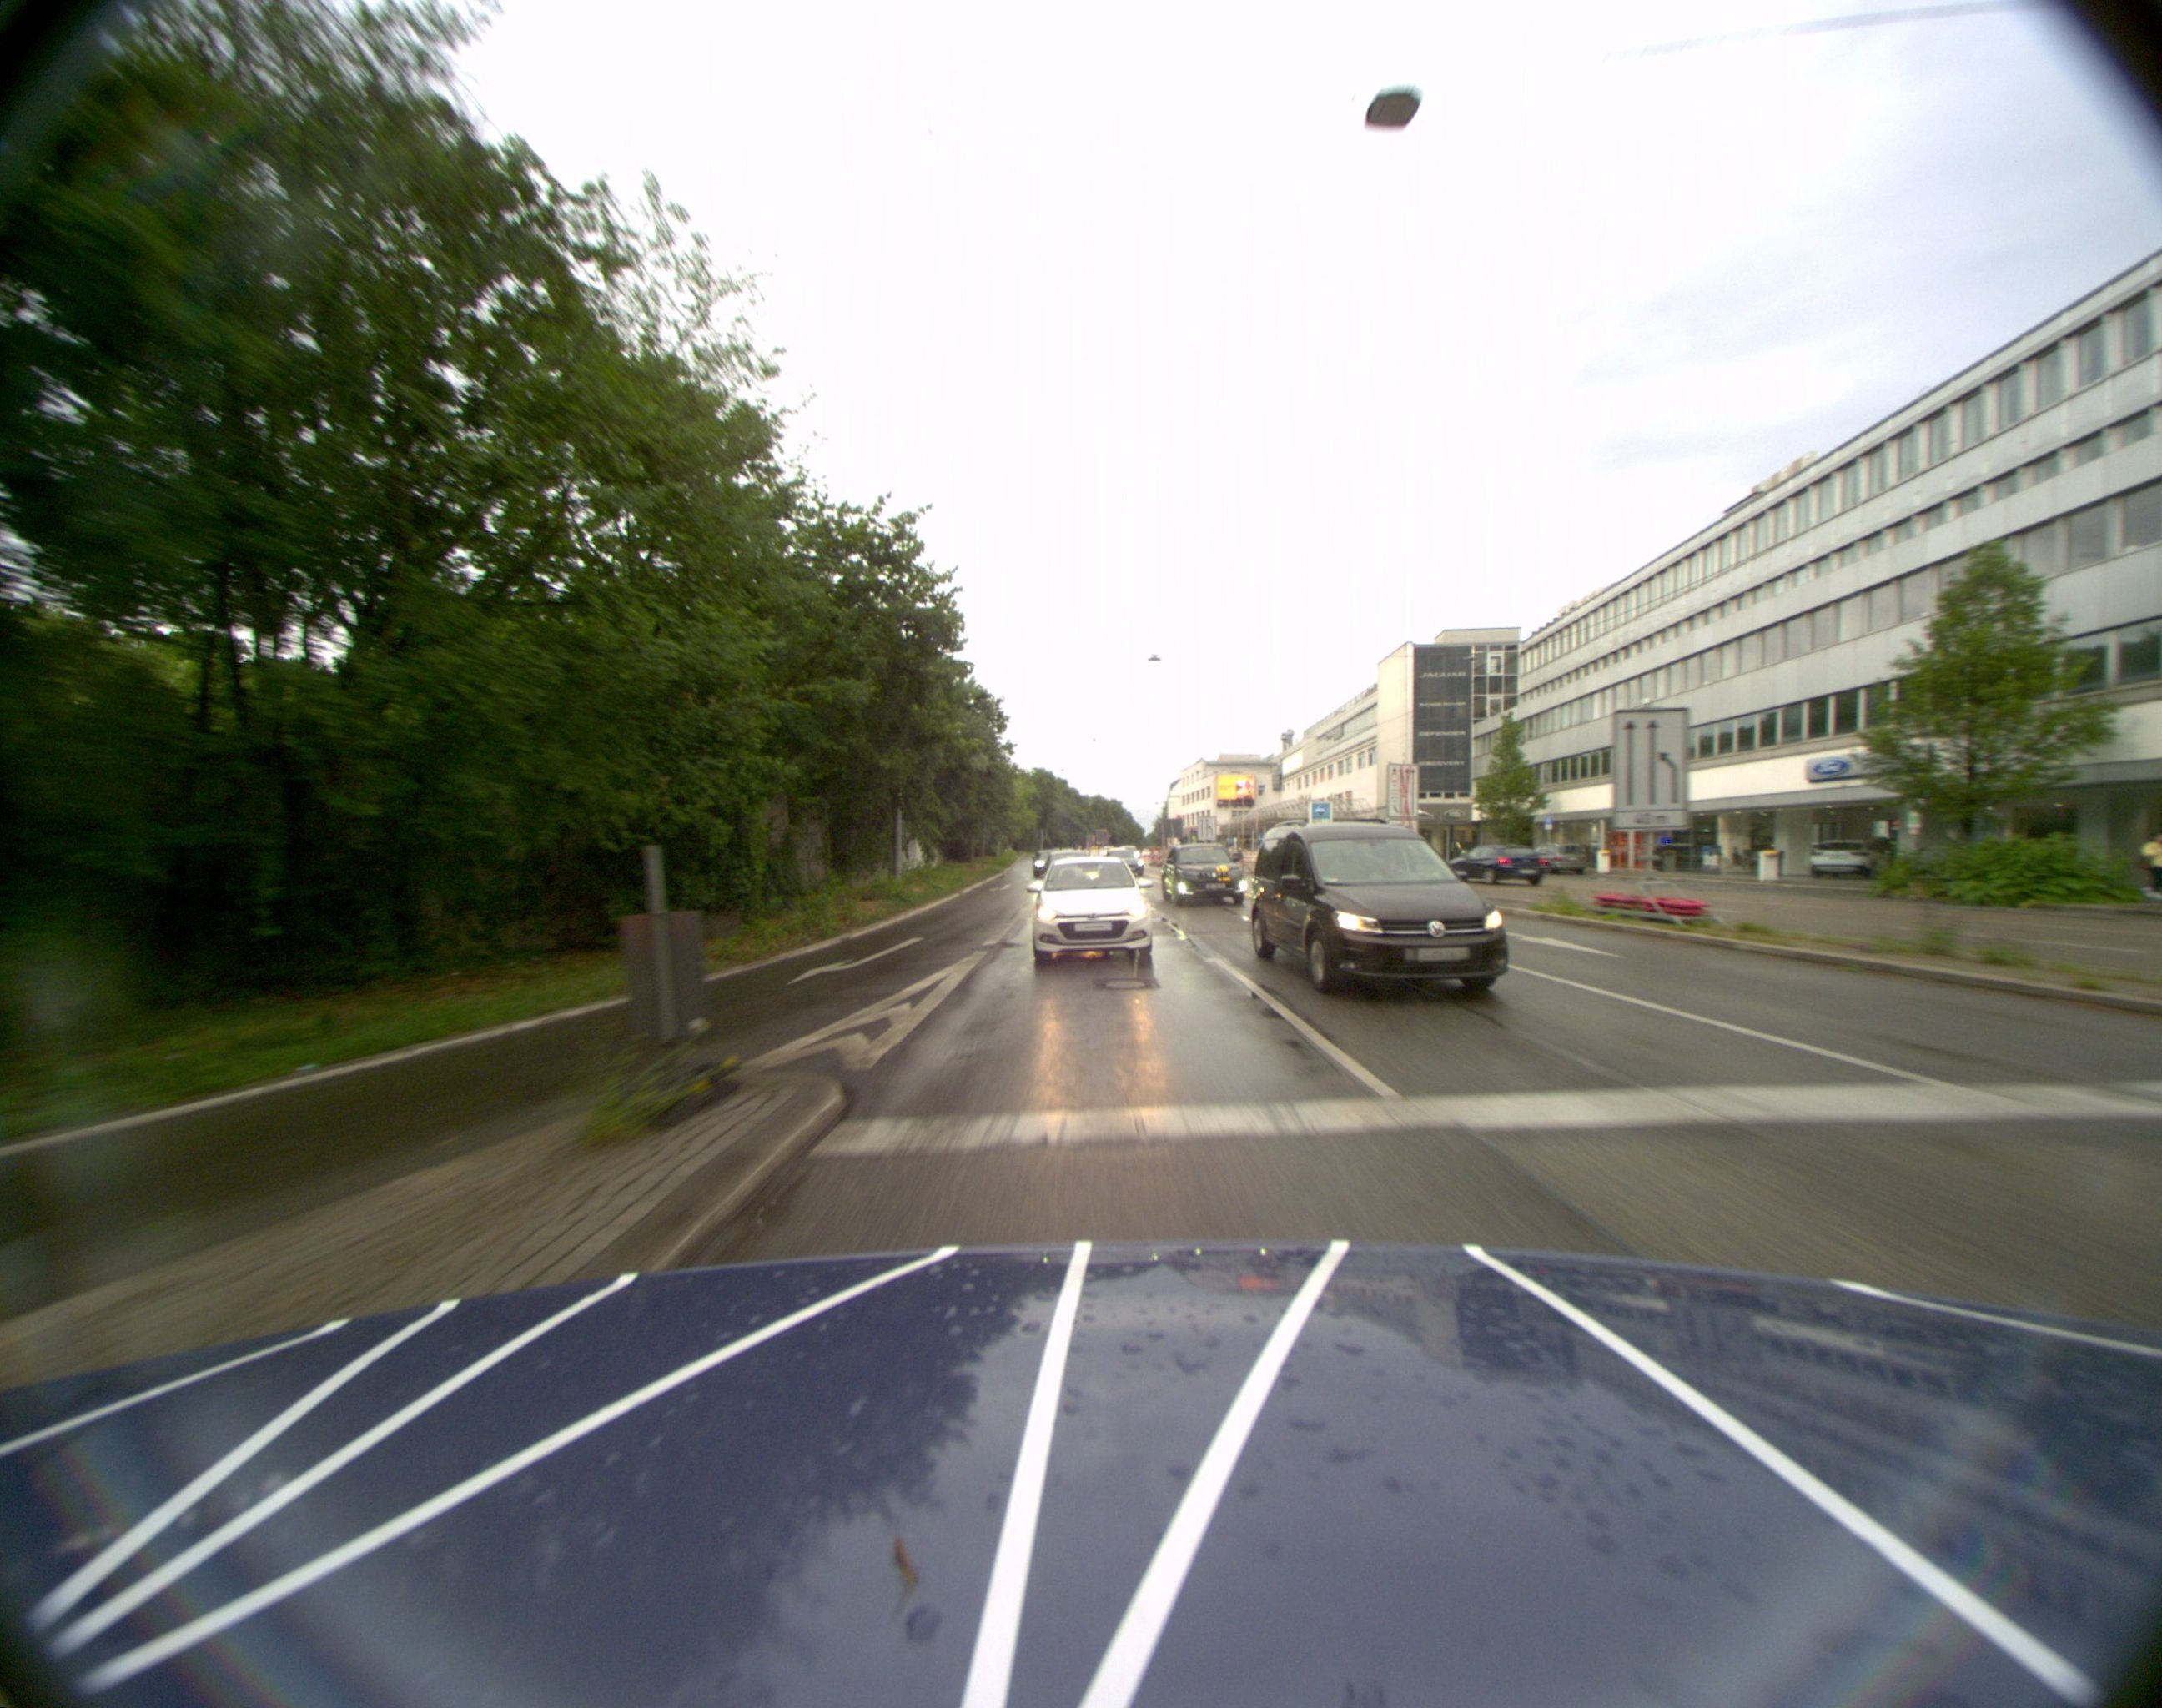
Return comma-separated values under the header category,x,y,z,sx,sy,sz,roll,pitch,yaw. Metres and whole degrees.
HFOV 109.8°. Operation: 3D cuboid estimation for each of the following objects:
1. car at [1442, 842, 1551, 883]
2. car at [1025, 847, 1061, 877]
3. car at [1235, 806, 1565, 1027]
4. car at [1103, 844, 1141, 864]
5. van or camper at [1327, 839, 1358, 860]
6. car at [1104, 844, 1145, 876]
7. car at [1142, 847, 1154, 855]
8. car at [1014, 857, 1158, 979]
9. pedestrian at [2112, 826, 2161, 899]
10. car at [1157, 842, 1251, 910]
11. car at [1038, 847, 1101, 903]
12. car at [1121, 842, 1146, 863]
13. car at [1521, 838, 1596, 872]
category,x,y,z,sx,sy,sz,roll,pitch,yaw
car,15.105,0.267,27.902,1.690,1.411,4.214,0,1,0
car,-2.234,0.457,45.899,1.814,1.590,4.332,-3,1,0
car,3.205,0.515,8.776,1.905,1.804,4.430,-3,1,0
car,3.314,-0.020,60.378,1.768,1.407,4.338,-3,1,20
van or camper,26.153,-0.489,76.133,1.928,1.918,4.255,-3,1,6
car,2.334,0.291,41.818,1.814,1.590,4.332,-3,1,-2
car,13.564,-0.661,153.950,1.806,1.523,3.763,1,0,-1
car,0.086,0.849,12.152,1.814,1.444,4.332,-3,1,0
pedestrian,26.666,0.193,18.931,0.761,1.765,0.864,-3,1,6
car,3.239,0.512,20.787,1.814,1.590,4.332,-3,1,0
car,-0.325,0.618,25.127,1.814,1.590,4.332,-3,1,0
car,4.457,-0.129,65.069,1.771,1.628,4.333,-3,1,1
car,27.614,0.021,44.135,1.922,1.805,4.166,-3,1,5
